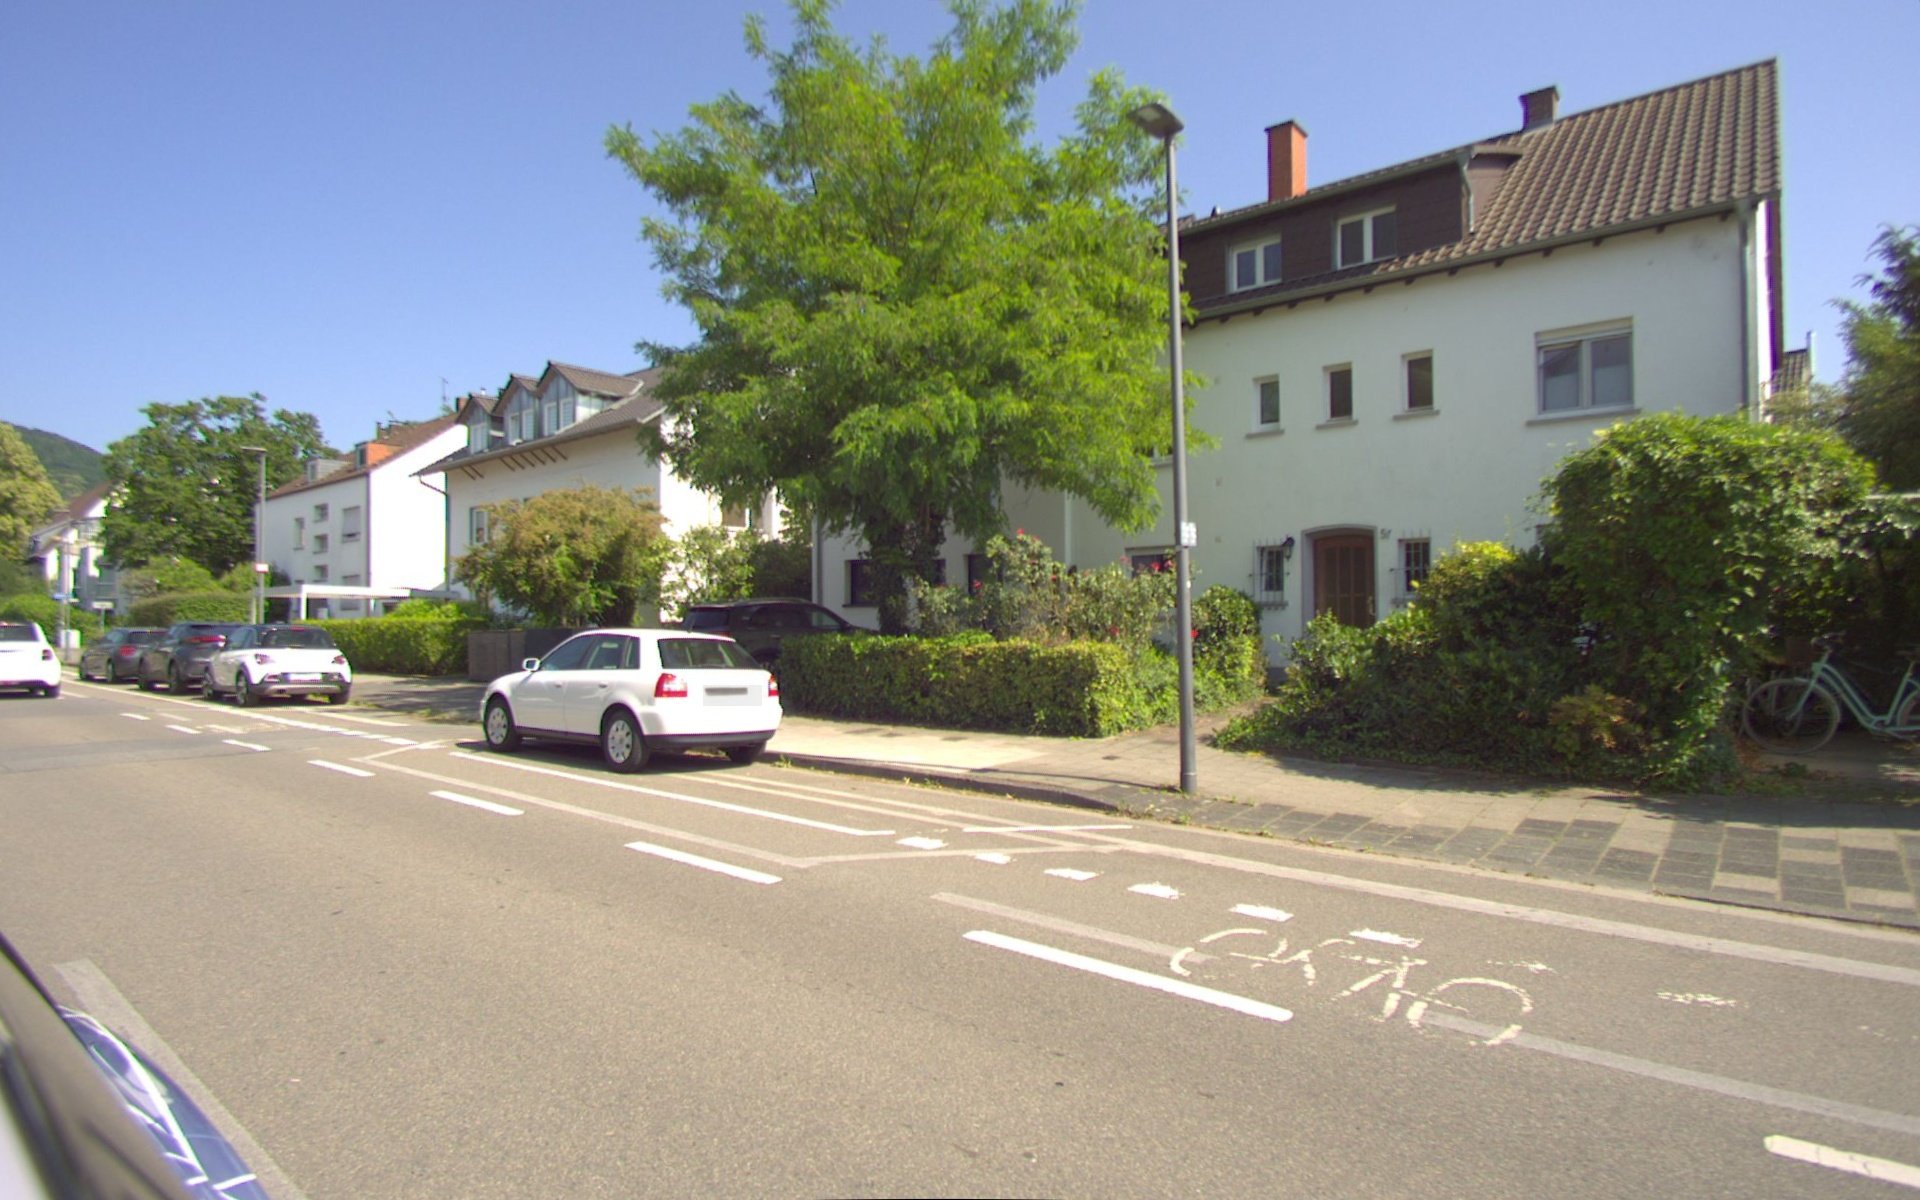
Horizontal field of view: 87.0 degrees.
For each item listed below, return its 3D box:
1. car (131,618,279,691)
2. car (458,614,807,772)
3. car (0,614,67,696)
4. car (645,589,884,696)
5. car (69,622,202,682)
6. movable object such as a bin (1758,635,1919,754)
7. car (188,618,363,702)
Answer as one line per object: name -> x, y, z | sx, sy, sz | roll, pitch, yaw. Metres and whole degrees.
car -> -16.669, 1.167, 22.275 | 4.109, 1.451, 1.766 | -2, -3, 41
car -> -3.746, 0.948, 11.289 | 3.995, 1.451, 1.768 | -1, -4, 39
car -> -19.540, 1.069, 20.426 | 3.997, 1.553, 1.714 | -1, -3, 41
car -> -3.573, 0.753, 18.894 | 3.940, 1.773, 2.002 | 1, -2, -44
car -> -21.471, 1.333, 26.306 | 4.149, 1.451, 1.768 | -2, -3, 38
movable object such as a bin -> 8.183, 0.817, 8.836 | 1.875, 0.998, 0.315 | -1, -1, 41
car -> -13.206, 1.126, 19.448 | 3.998, 1.451, 1.767 | -2, -4, 41
